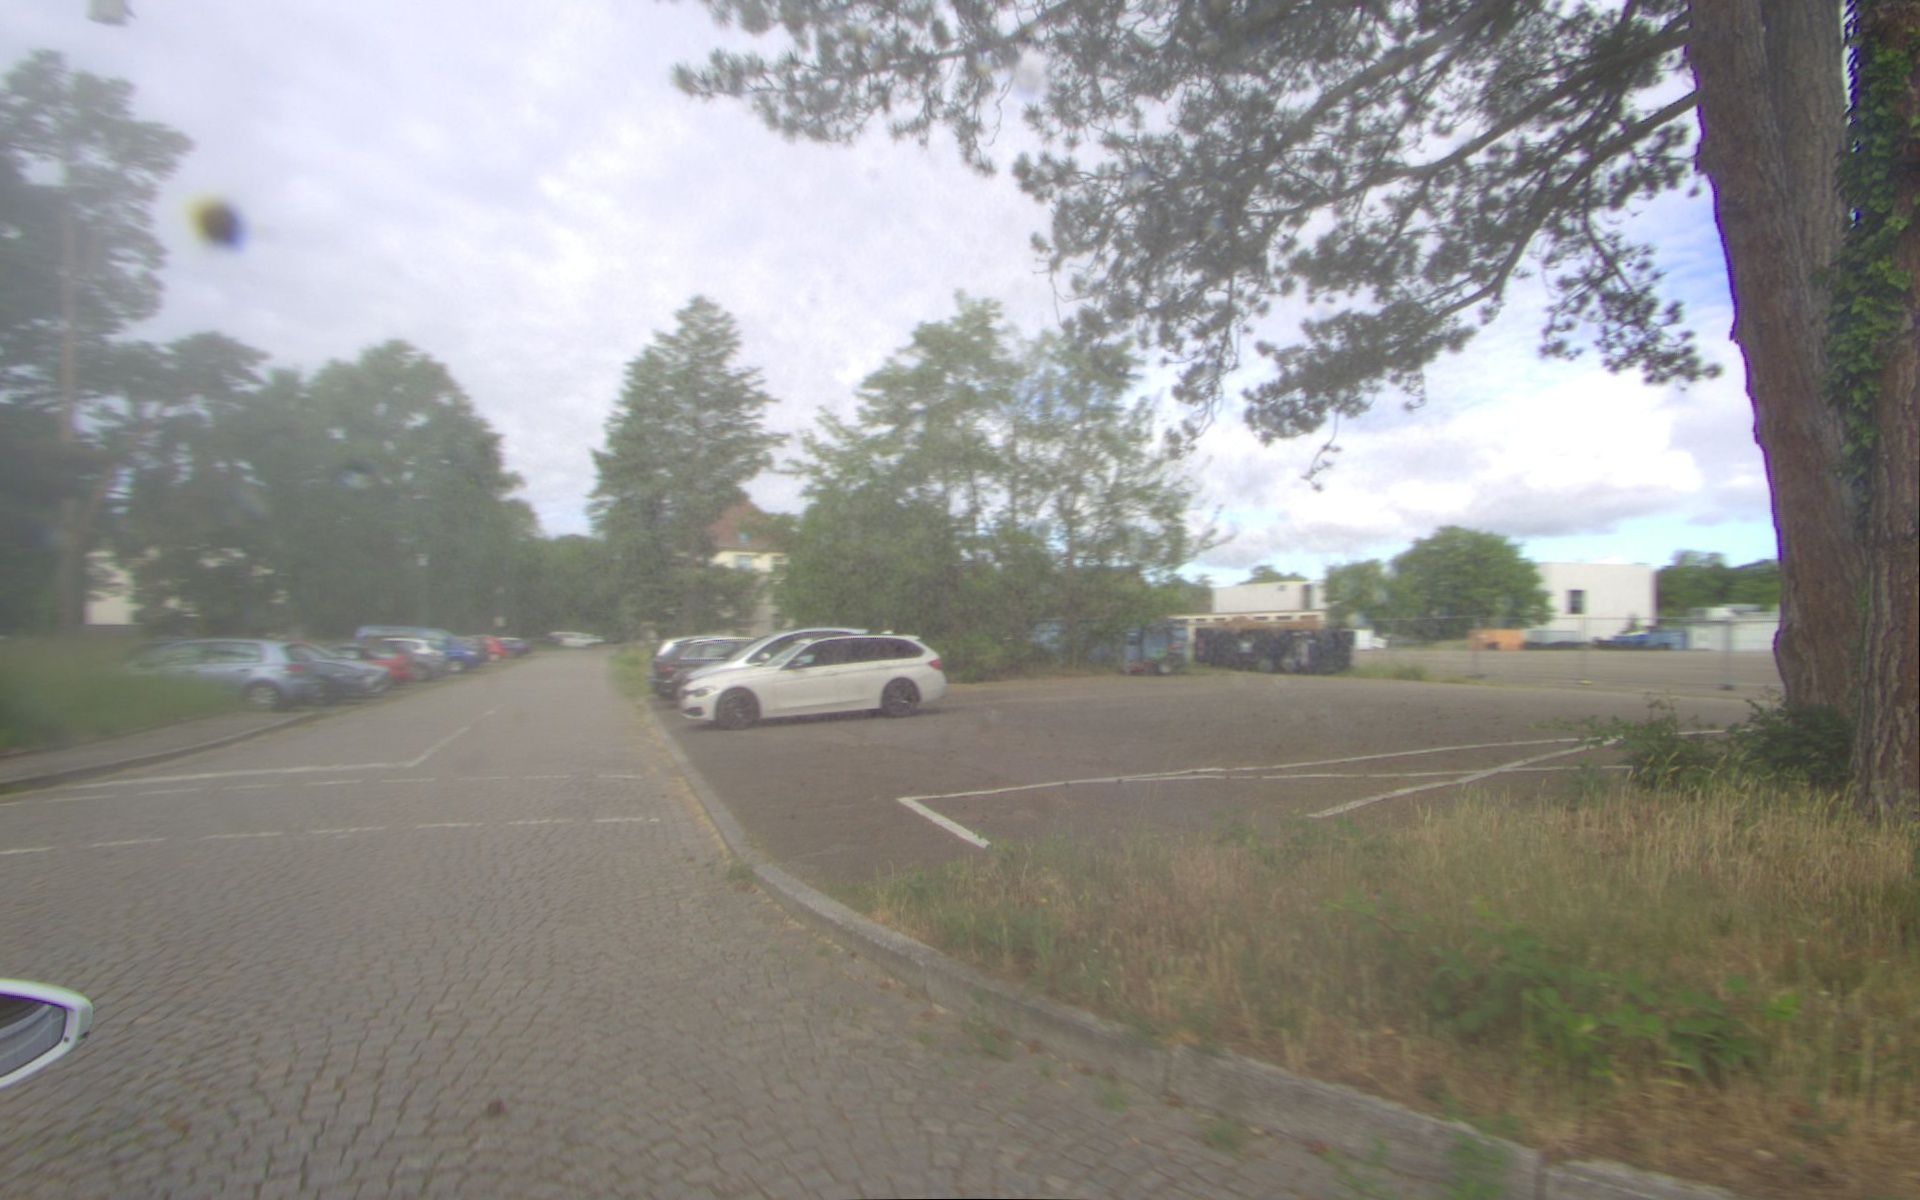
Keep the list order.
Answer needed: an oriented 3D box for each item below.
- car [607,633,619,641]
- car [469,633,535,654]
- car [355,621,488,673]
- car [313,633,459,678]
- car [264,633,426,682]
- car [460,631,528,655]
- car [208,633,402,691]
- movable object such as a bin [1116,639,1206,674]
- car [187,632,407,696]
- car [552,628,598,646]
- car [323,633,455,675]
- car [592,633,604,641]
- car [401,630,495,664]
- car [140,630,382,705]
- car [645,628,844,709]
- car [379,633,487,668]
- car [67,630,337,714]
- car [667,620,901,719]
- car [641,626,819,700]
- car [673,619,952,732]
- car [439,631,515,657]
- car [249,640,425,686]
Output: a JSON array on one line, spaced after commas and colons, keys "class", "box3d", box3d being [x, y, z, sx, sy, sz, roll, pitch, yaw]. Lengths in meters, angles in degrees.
[{"class": "car", "box3d": [-64.491, 6.873, 186.084, 1.925, 1.541, 3.990, 1, -2, -21]}, {"class": "car", "box3d": [-34.231, 3.229, 74.913, 4.243, 1.479, 1.971, 2, -2, -19]}, {"class": "car", "box3d": [-22.866, 1.990, 42.725, 4.717, 2.149, 2.110, 1, -1, -21]}, {"class": "car", "box3d": [-19.985, 1.916, 35.046, 4.107, 1.511, 1.861, 1, -1, -18]}, {"class": "car", "box3d": [-19.619, 1.813, 32.164, 4.108, 1.501, 1.842, 1, -1, -19]}, {"class": "car", "box3d": [-32.751, 3.030, 70.455, 4.172, 1.597, 1.882, 2, -2, -21]}, {"class": "car", "box3d": [-17.822, 1.657, 27.481, 4.109, 1.495, 1.860, 1, -1, -21]}, {"class": "movable object such as a bin", "box3d": [6.040, 1.689, 30.103, 2.647, 1.001, 0.851, 1, -1, -23]}, {"class": "car", "box3d": [-16.670, 1.581, 25.463, 4.316, 1.527, 1.930, 1, -2, -22]}, {"class": "car", "box3d": [-46.979, 4.486, 122.096, 5.166, 2.195, 1.995, 1, -2, -22]}, {"class": "car", "box3d": [-21.379, 2.016, 37.646, 4.011, 1.516, 1.842, 1, -1, -19]}, {"class": "car", "box3d": [-66.874, 6.837, 184.902, 2.090, 1.541, 3.991, 1, -2, -21]}, {"class": "car", "box3d": [-26.002, 2.367, 51.010, 4.111, 1.643, 1.981, 1, -2, -23]}, {"class": "car", "box3d": [-15.766, 1.486, 22.879, 4.195, 1.568, 1.930, 1, -2, -24]}, {"class": "car", "box3d": [-4.791, 1.457, 22.205, 4.018, 1.472, 1.880, -2, 0, -22]}, {"class": "car", "box3d": [-23.685, 2.255, 45.173, 4.111, 1.529, 1.776, 1, -1, -22]}, {"class": "car", "box3d": [-15.096, 1.401, 20.224, 3.933, 1.562, 1.901, 1, -1, -21]}, {"class": "car", "box3d": [-3.484, 1.304, 19.798, 4.184, 1.617, 1.879, -2, 0, -24]}, {"class": "car", "box3d": [-5.690, 1.503, 24.754, 4.018, 1.535, 1.799, -2, 0, -22]}, {"class": "car", "box3d": [-2.574, 1.232, 17.420, 4.432, 1.586, 1.900, -2, 0, -22]}, {"class": "car", "box3d": [-29.298, 2.673, 60.826, 4.001, 1.544, 1.900, 1, -2, -21]}, {"class": "car", "box3d": [-18.393, 1.847, 29.790, 4.108, 1.283, 1.827, 1, -2, -19]}]
